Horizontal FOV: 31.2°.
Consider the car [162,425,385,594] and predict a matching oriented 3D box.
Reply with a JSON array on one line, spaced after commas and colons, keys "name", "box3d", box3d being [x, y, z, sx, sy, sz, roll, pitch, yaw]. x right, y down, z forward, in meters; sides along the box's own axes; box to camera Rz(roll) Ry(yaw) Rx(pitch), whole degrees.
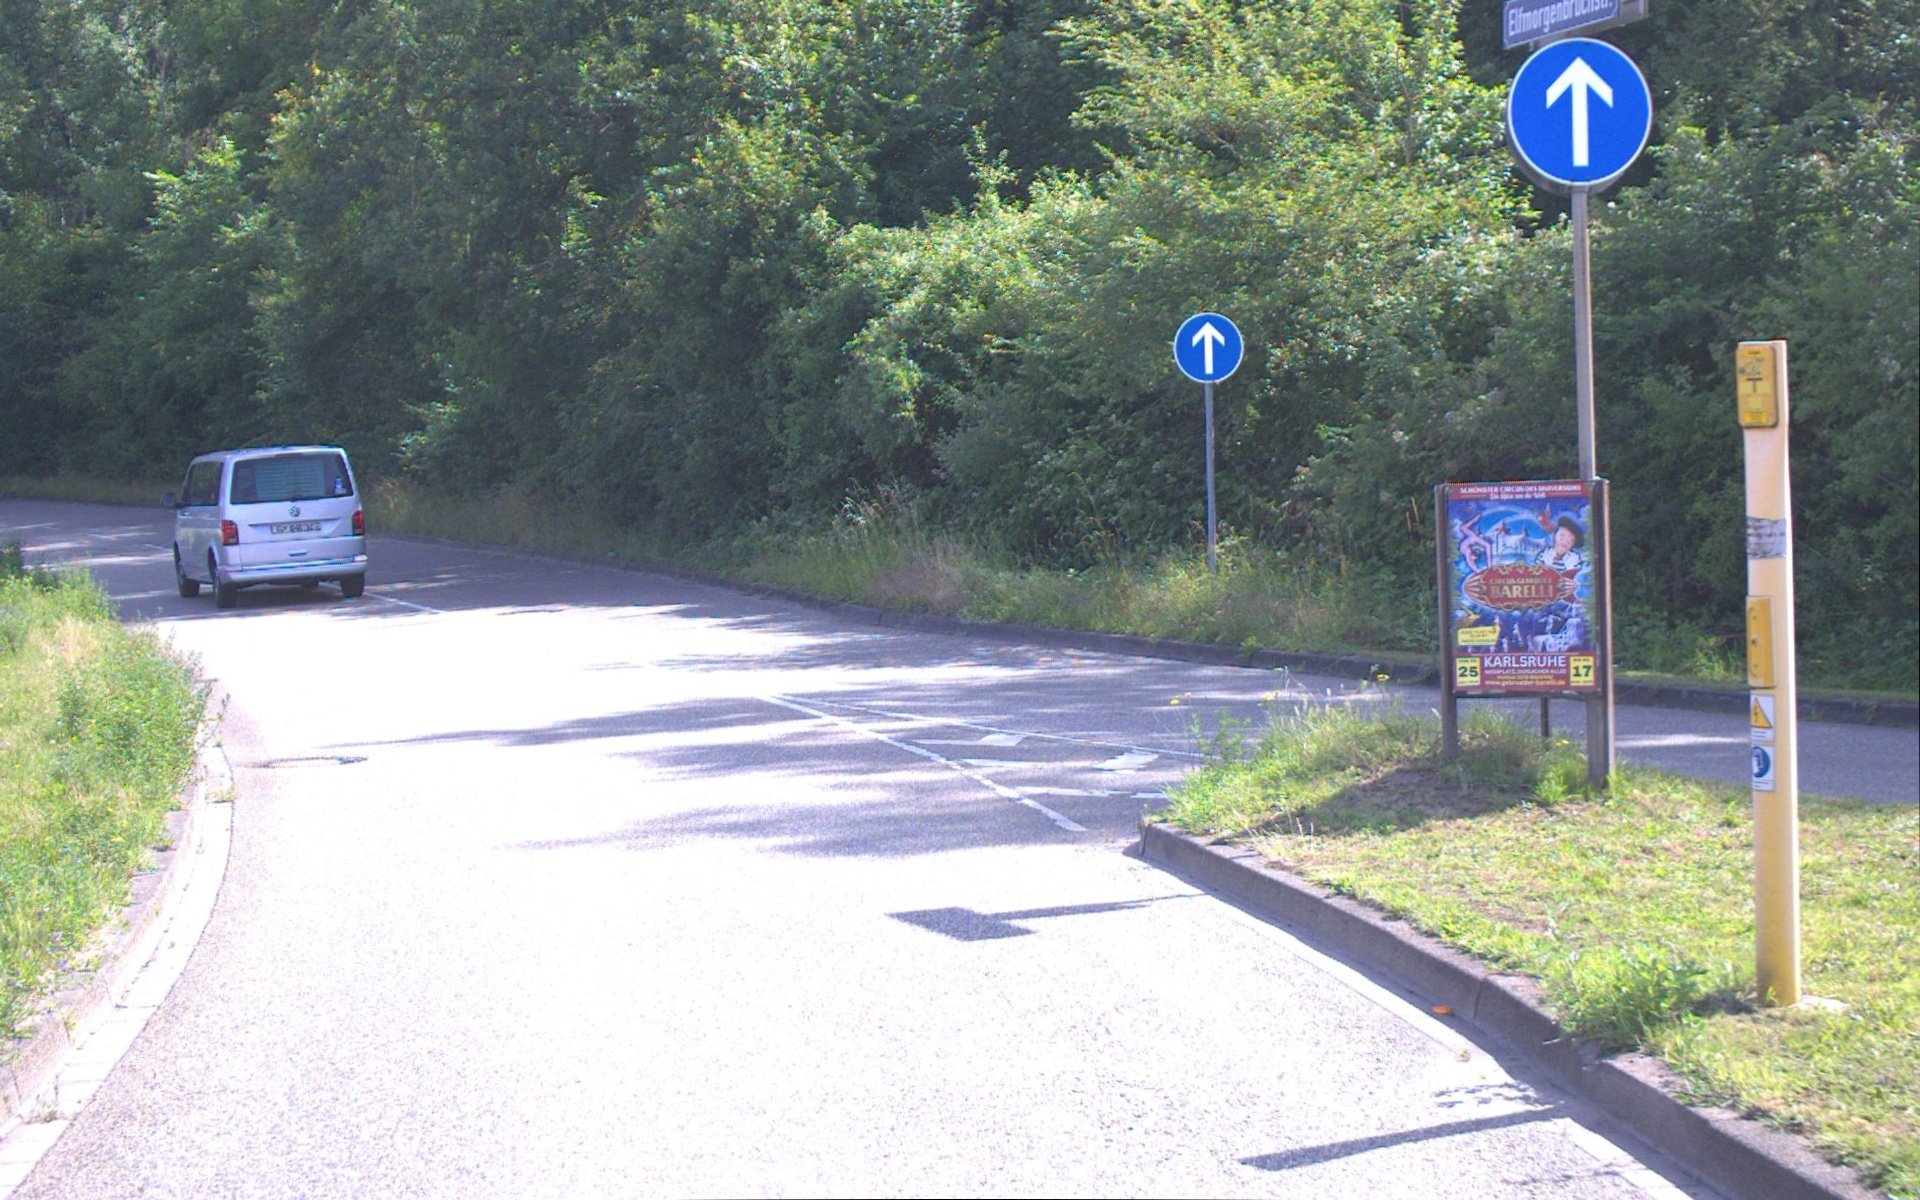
[{"name": "car", "box3d": [-8.868, -1.173, 44.196, 2.039, 2.006, 4.001, -3, 3, -22]}]
